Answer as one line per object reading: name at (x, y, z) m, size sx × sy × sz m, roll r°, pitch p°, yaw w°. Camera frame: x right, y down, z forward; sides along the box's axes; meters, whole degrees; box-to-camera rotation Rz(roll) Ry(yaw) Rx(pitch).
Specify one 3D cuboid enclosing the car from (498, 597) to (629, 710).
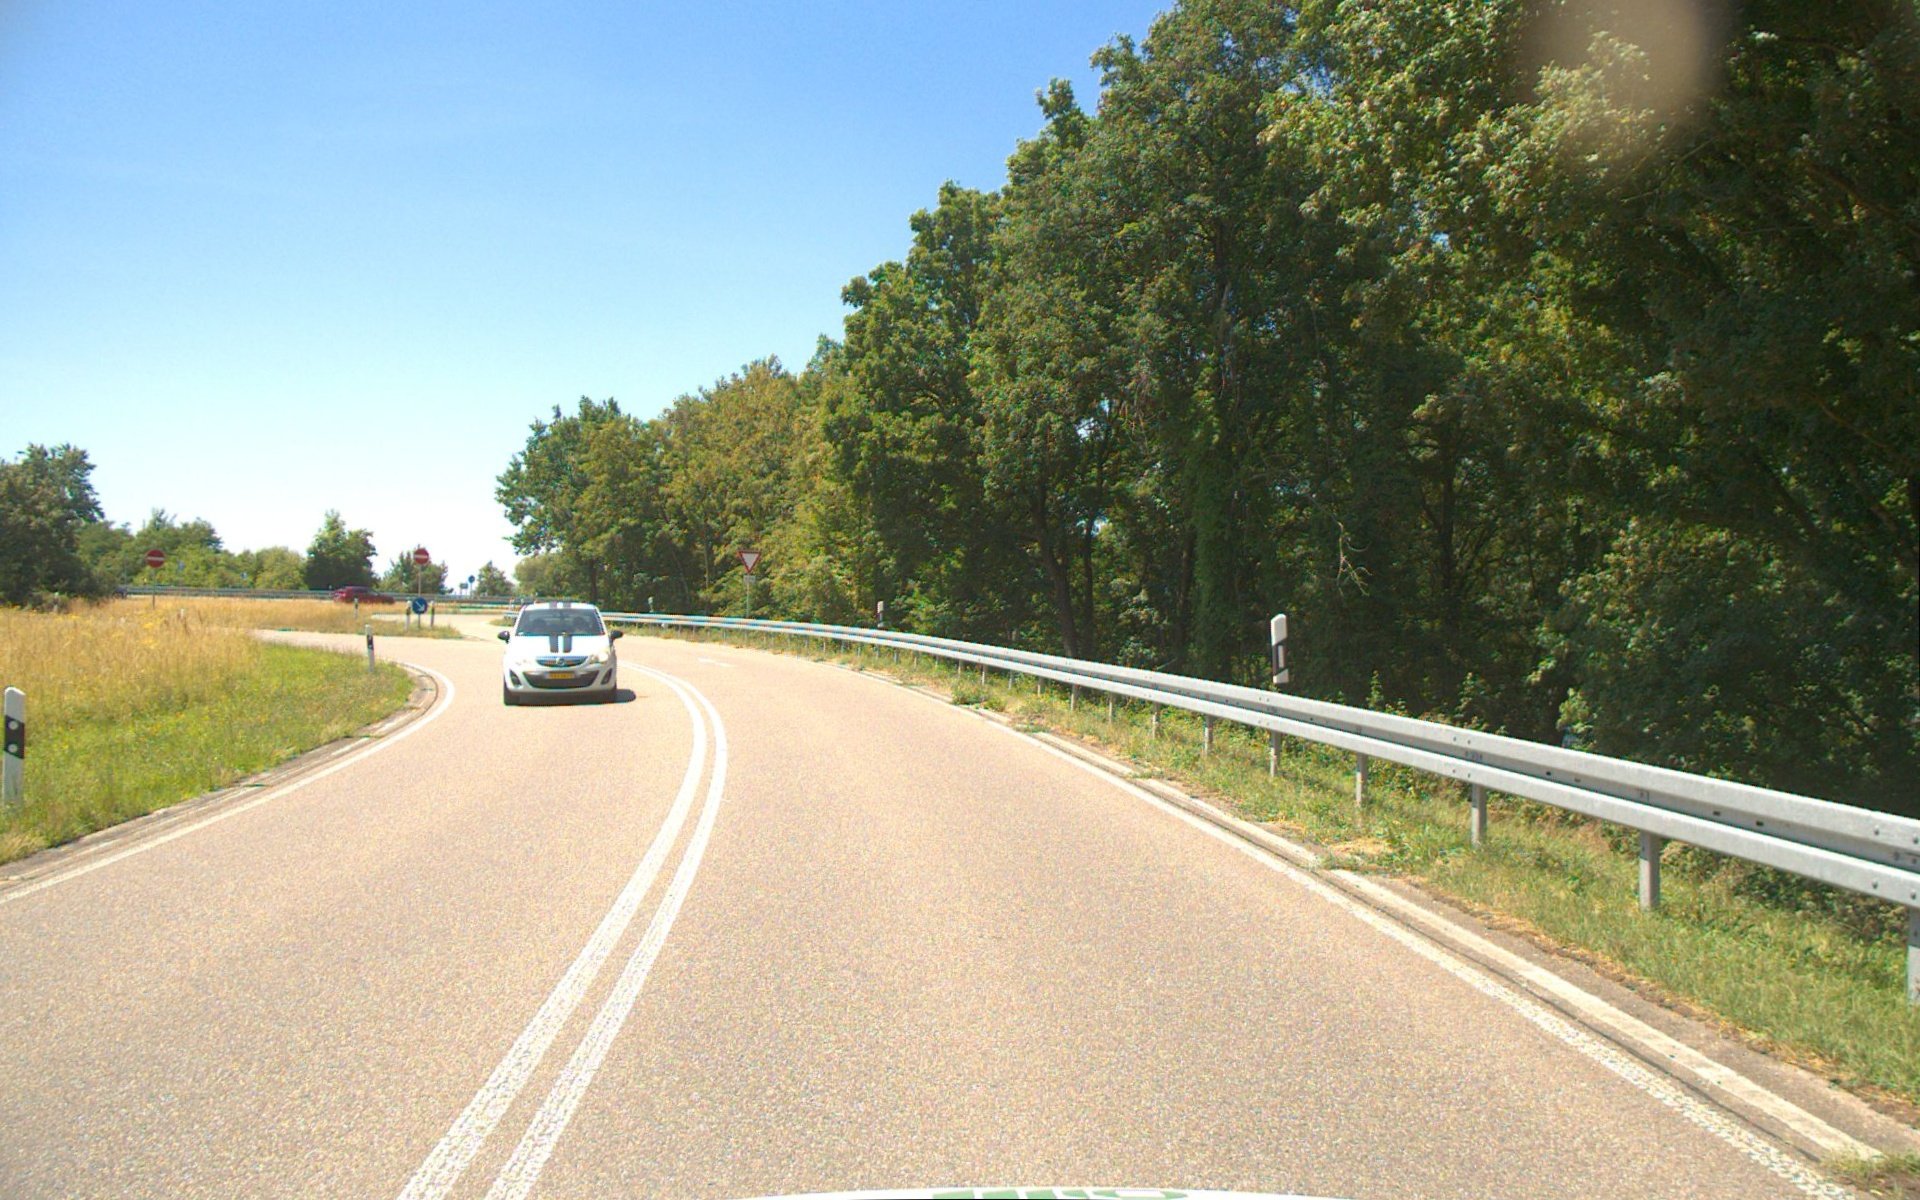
car at (-6.223, 0.766, 25.995) m, size 1.791 × 1.533 × 4.157 m, roll -2°, pitch 1°, yaw -14°
